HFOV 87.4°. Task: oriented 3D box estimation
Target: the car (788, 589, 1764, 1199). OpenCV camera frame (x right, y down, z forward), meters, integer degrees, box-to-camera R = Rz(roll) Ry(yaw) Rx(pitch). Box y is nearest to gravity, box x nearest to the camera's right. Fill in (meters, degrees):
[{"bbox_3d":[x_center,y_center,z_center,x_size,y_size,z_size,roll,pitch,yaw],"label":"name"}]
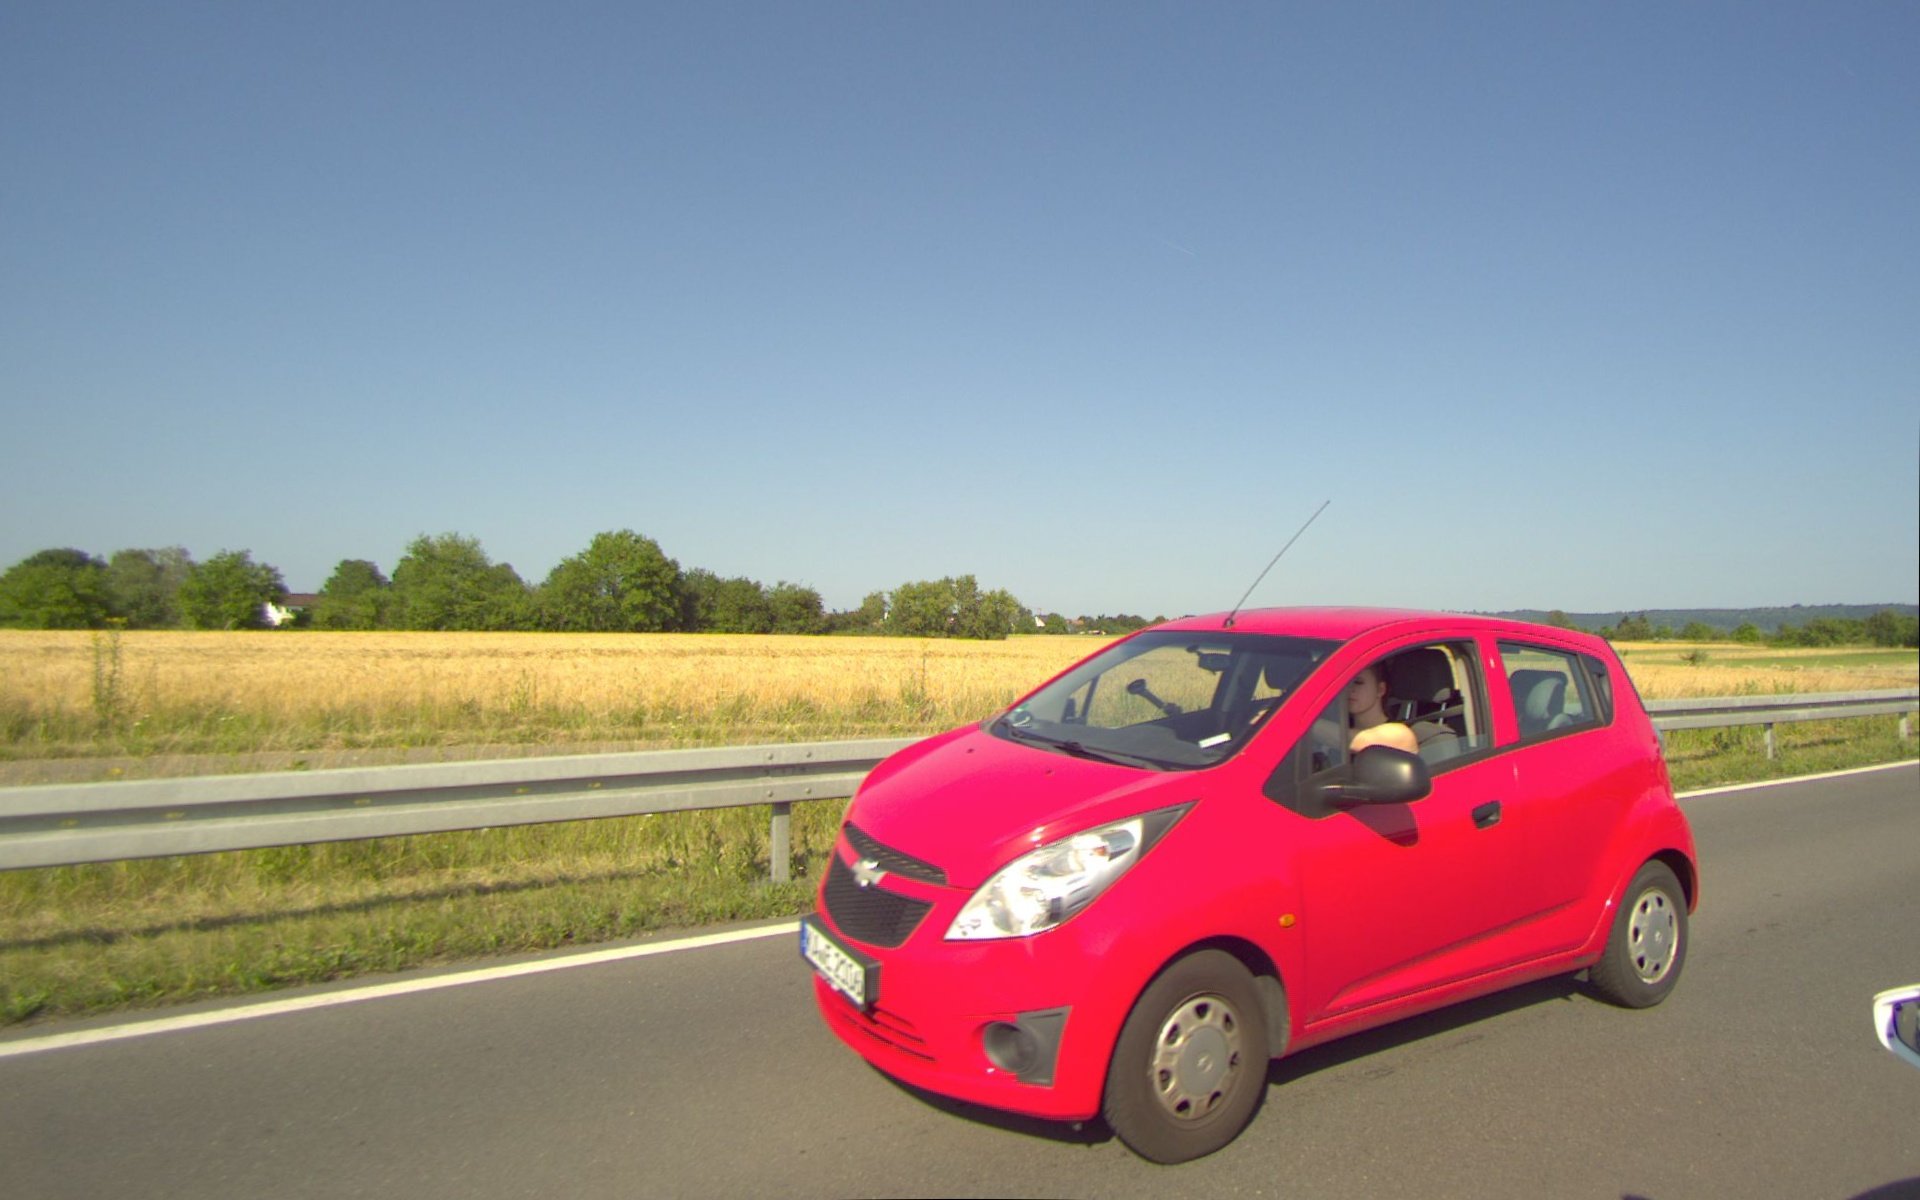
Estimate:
[{"bbox_3d":[1.374,0.769,3.983,3.735,1.508,1.599,1,-1,-30],"label":"car"}]
